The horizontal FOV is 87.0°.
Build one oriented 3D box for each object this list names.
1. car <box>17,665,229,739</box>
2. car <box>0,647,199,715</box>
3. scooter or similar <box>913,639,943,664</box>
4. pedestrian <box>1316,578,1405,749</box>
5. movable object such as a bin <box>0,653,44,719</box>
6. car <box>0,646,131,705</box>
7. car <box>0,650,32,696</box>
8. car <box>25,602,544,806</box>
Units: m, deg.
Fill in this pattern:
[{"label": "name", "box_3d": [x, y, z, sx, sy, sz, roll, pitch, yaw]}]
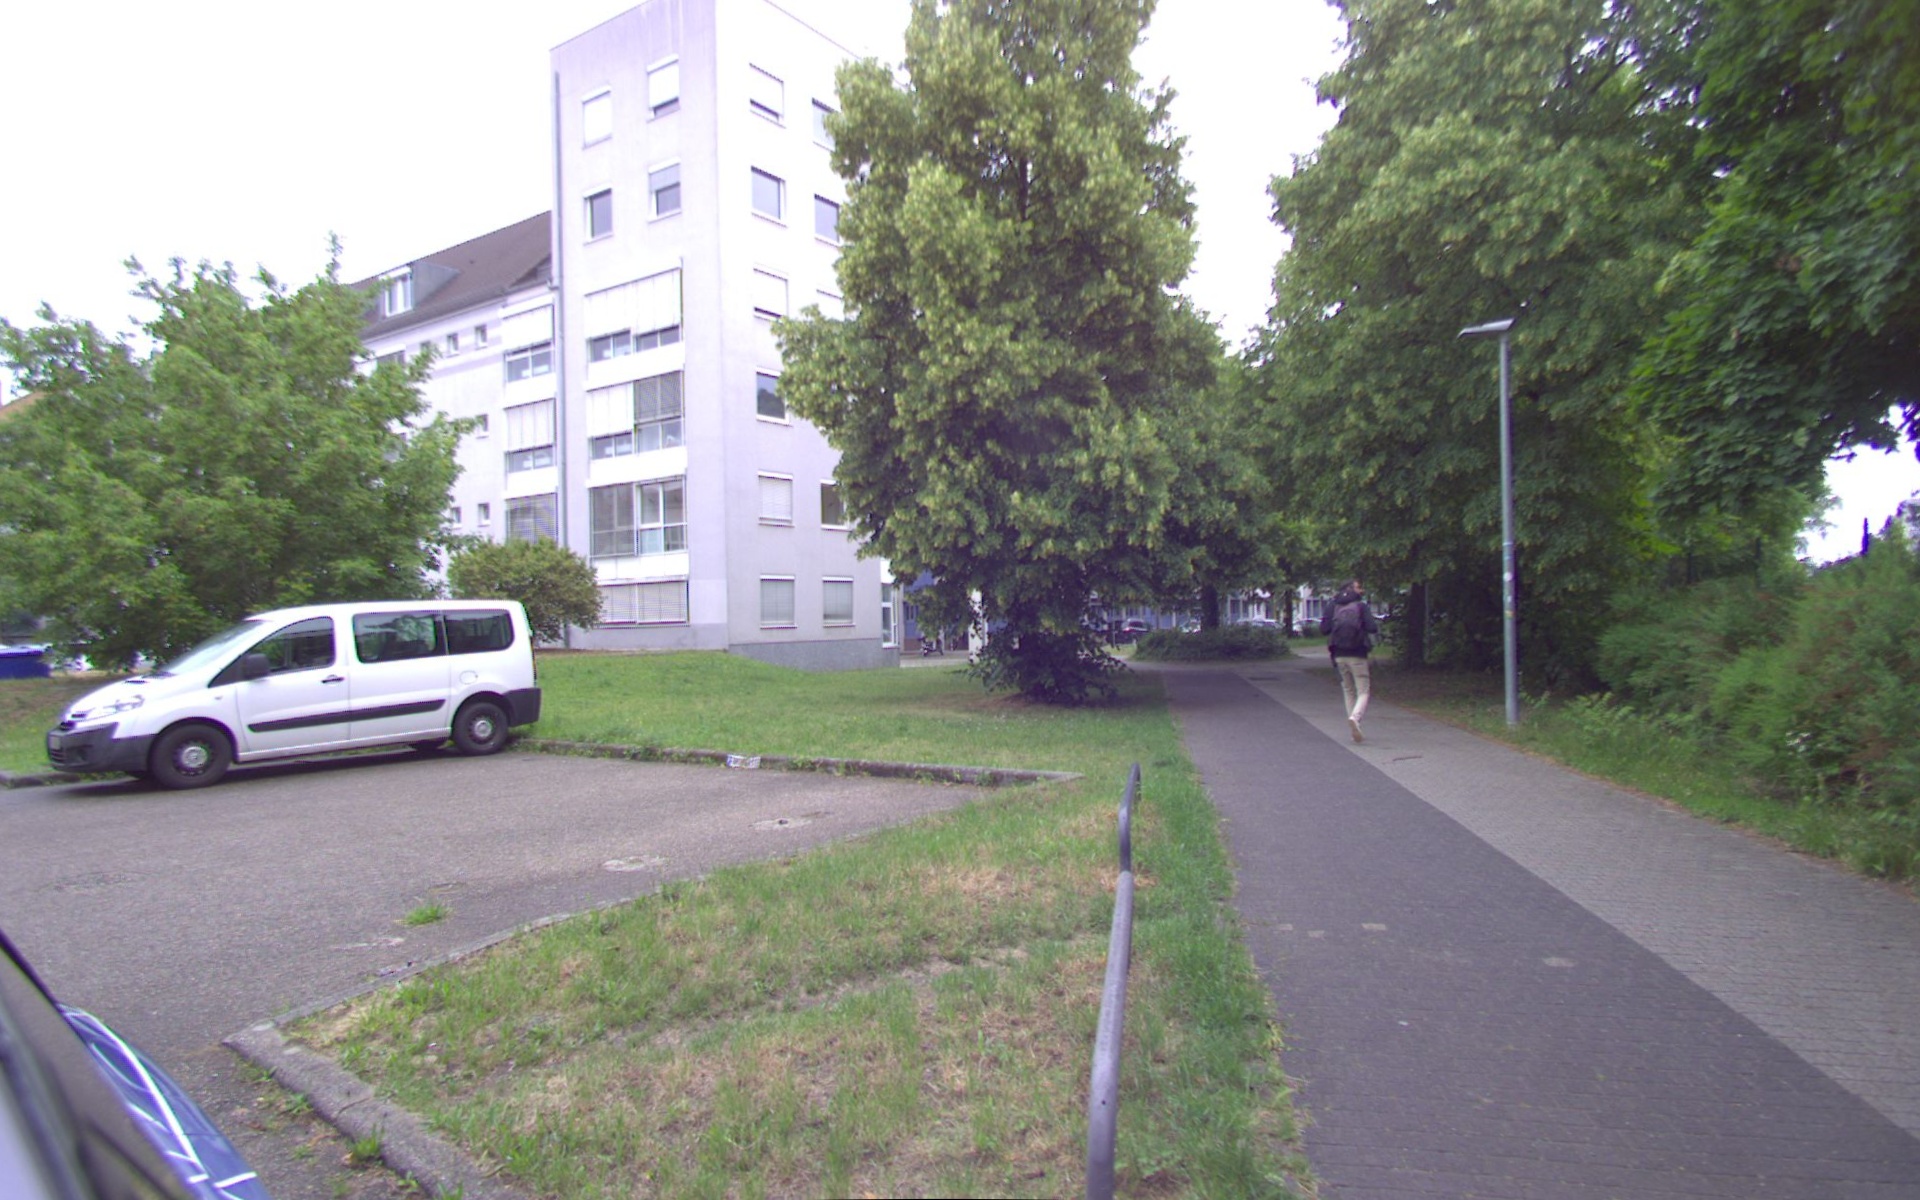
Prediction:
[{"label": "car", "box_3d": [-23.826, 2.832, 28.977, 1.993, 1.748, 4.295, -2, -2, 31]}, {"label": "car", "box_3d": [-25.863, 2.365, 30.499, 1.993, 1.748, 4.295, -2, -2, 31]}, {"label": "scooter or similar", "box_3d": [-1.625, 2.631, 52.054, 0.789, 1.197, 2.505, -1, -1, 16]}, {"label": "pedestrian", "box_3d": [4.302, 0.665, 10.879, 0.681, 1.763, 0.612, -2, -2, 42]}, {"label": "movable object such as a bin", "box_3d": [-20.095, 1.808, 21.183, 1.225, 1.317, 1.166, -3, -2, 36]}, {"label": "car", "box_3d": [-30.376, 2.471, 33.398, 1.993, 1.748, 4.295, -2, -2, 31]}, {"label": "car", "box_3d": [-38.195, 2.830, 38.204, 1.993, 1.748, 4.295, -2, -2, 31]}, {"label": "car", "box_3d": [-7.631, 1.038, 11.889, 1.899, 1.887, 4.711, -5, -3, 39]}]
